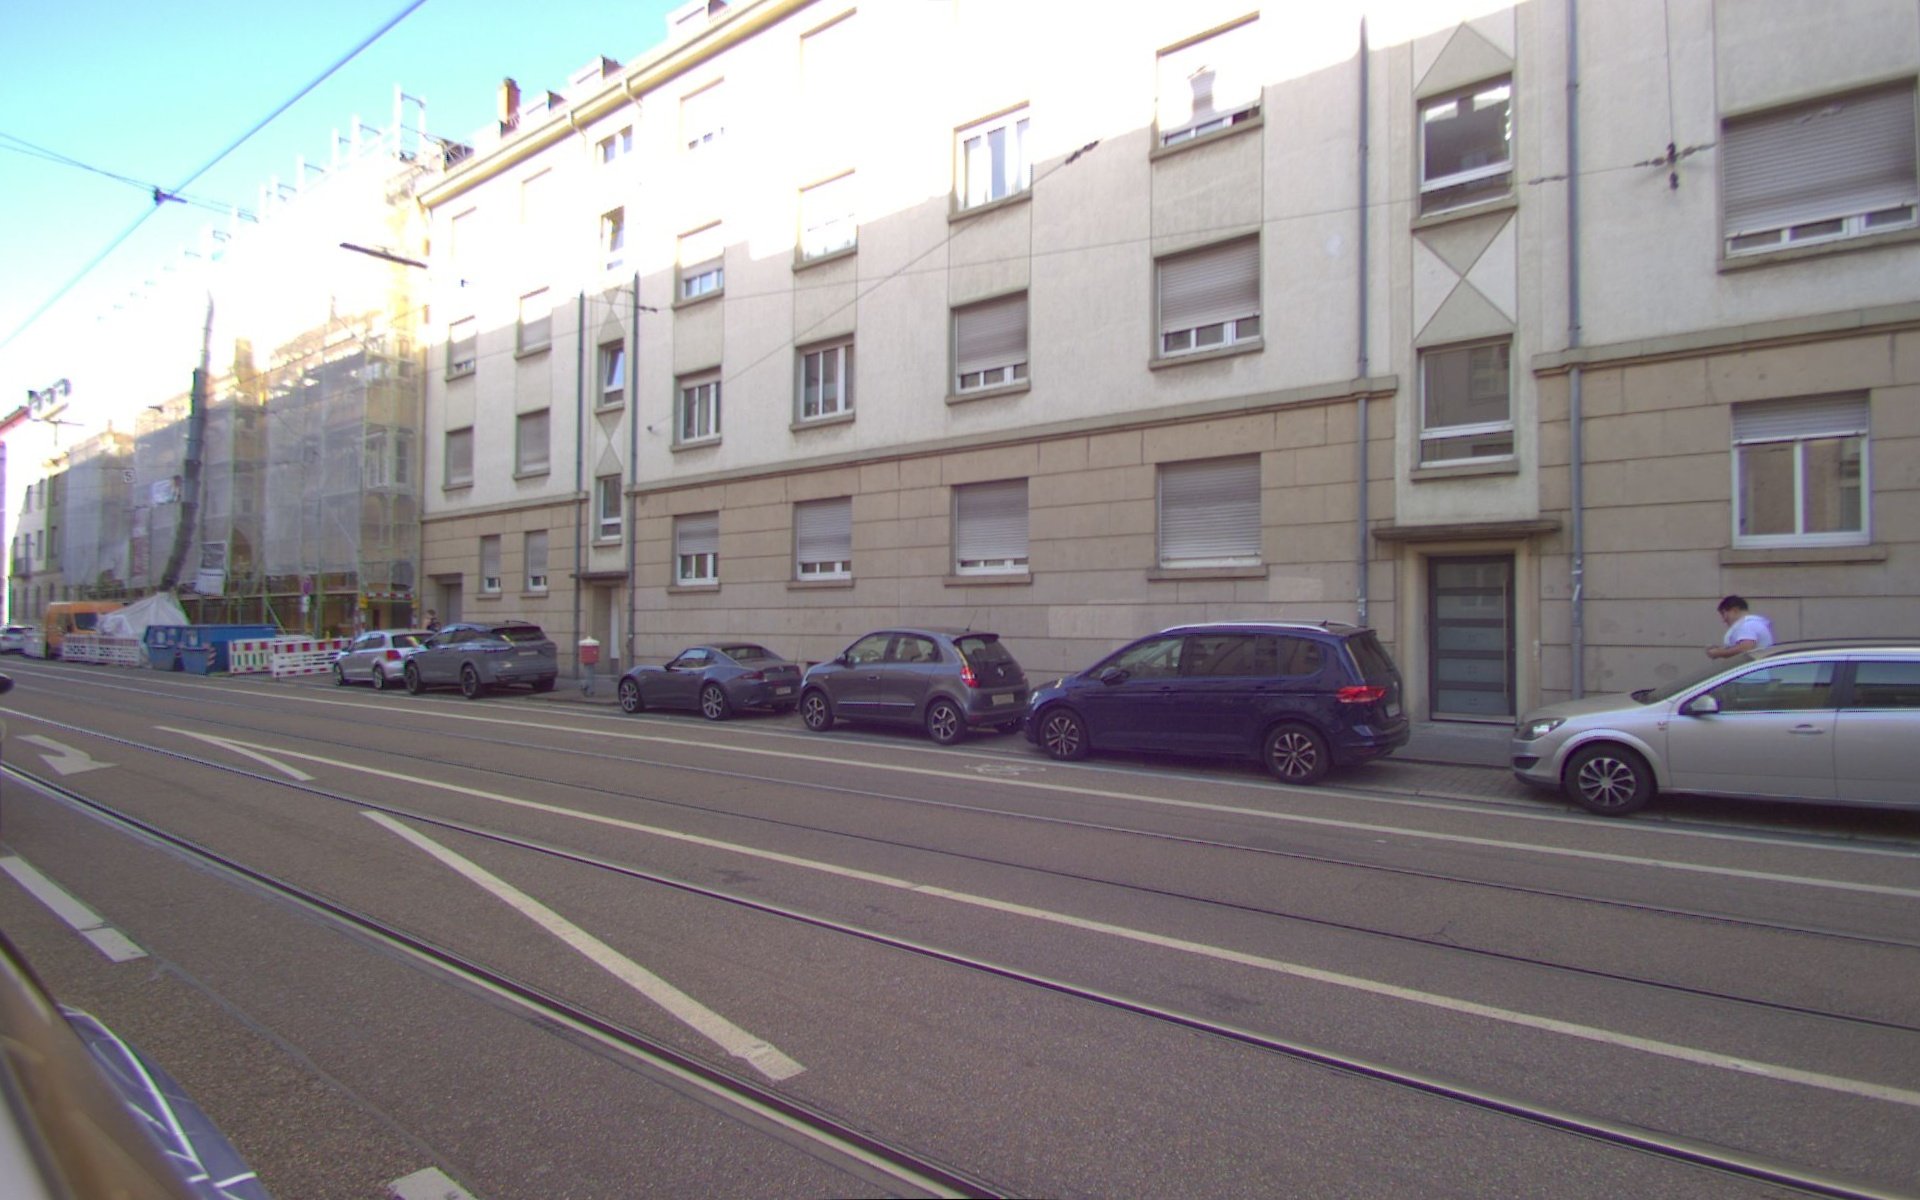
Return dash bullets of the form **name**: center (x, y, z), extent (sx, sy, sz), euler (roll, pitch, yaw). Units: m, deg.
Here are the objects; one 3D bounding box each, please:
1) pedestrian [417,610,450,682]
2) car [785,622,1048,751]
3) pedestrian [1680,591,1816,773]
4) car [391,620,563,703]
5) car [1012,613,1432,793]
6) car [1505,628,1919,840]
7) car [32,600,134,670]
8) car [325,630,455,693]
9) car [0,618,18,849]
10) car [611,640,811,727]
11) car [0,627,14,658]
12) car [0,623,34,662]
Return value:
- **pedestrian**: center (-14.181, 1.227, 27.237), extent (0.762, 1.886, 0.513), euler (-1, 0, 38)
- **car**: center (-0.690, 1.133, 14.640), extent (3.591, 1.570, 1.624), euler (-1, 1, 38)
- **pedestrian**: center (8.091, 0.801, 10.433), extent (1.002, 1.781, 0.657), euler (-1, 0, 31)
- **car**: center (-10.851, 1.301, 22.636), extent (4.152, 1.621, 1.731), euler (-1, 1, 37)
- **car**: center (2.899, 1.012, 11.645), extent (4.318, 1.645, 1.798), euler (-1, 1, 37)
- **car**: center (7.124, 1.011, 8.414), extent (4.363, 1.465, 1.709), euler (-1, 1, 37)
- **car**: center (-36.454, 1.390, 42.007), extent (5.866, 2.717, 2.188), euler (-1, 0, 39)
- **car**: center (-14.305, 1.488, 25.332), extent (3.502, 1.390, 1.546), euler (-1, 1, 37)
- **car**: center (-7.939, 0.875, 6.940), extent (3.814, 1.436, 1.705), euler (-2, -3, 40)
- **car**: center (-4.340, 1.371, 17.456), extent (3.518, 1.229, 1.458), euler (-1, 1, 37)
- **car**: center (-54.651, 2.397, 56.958), extent (3.932, 1.696, 1.550), euler (-1, 0, 39)
- **car**: center (-50.007, 2.197, 53.342), extent (1.635, 1.937, 3.767), euler (-1, 0, -44)
